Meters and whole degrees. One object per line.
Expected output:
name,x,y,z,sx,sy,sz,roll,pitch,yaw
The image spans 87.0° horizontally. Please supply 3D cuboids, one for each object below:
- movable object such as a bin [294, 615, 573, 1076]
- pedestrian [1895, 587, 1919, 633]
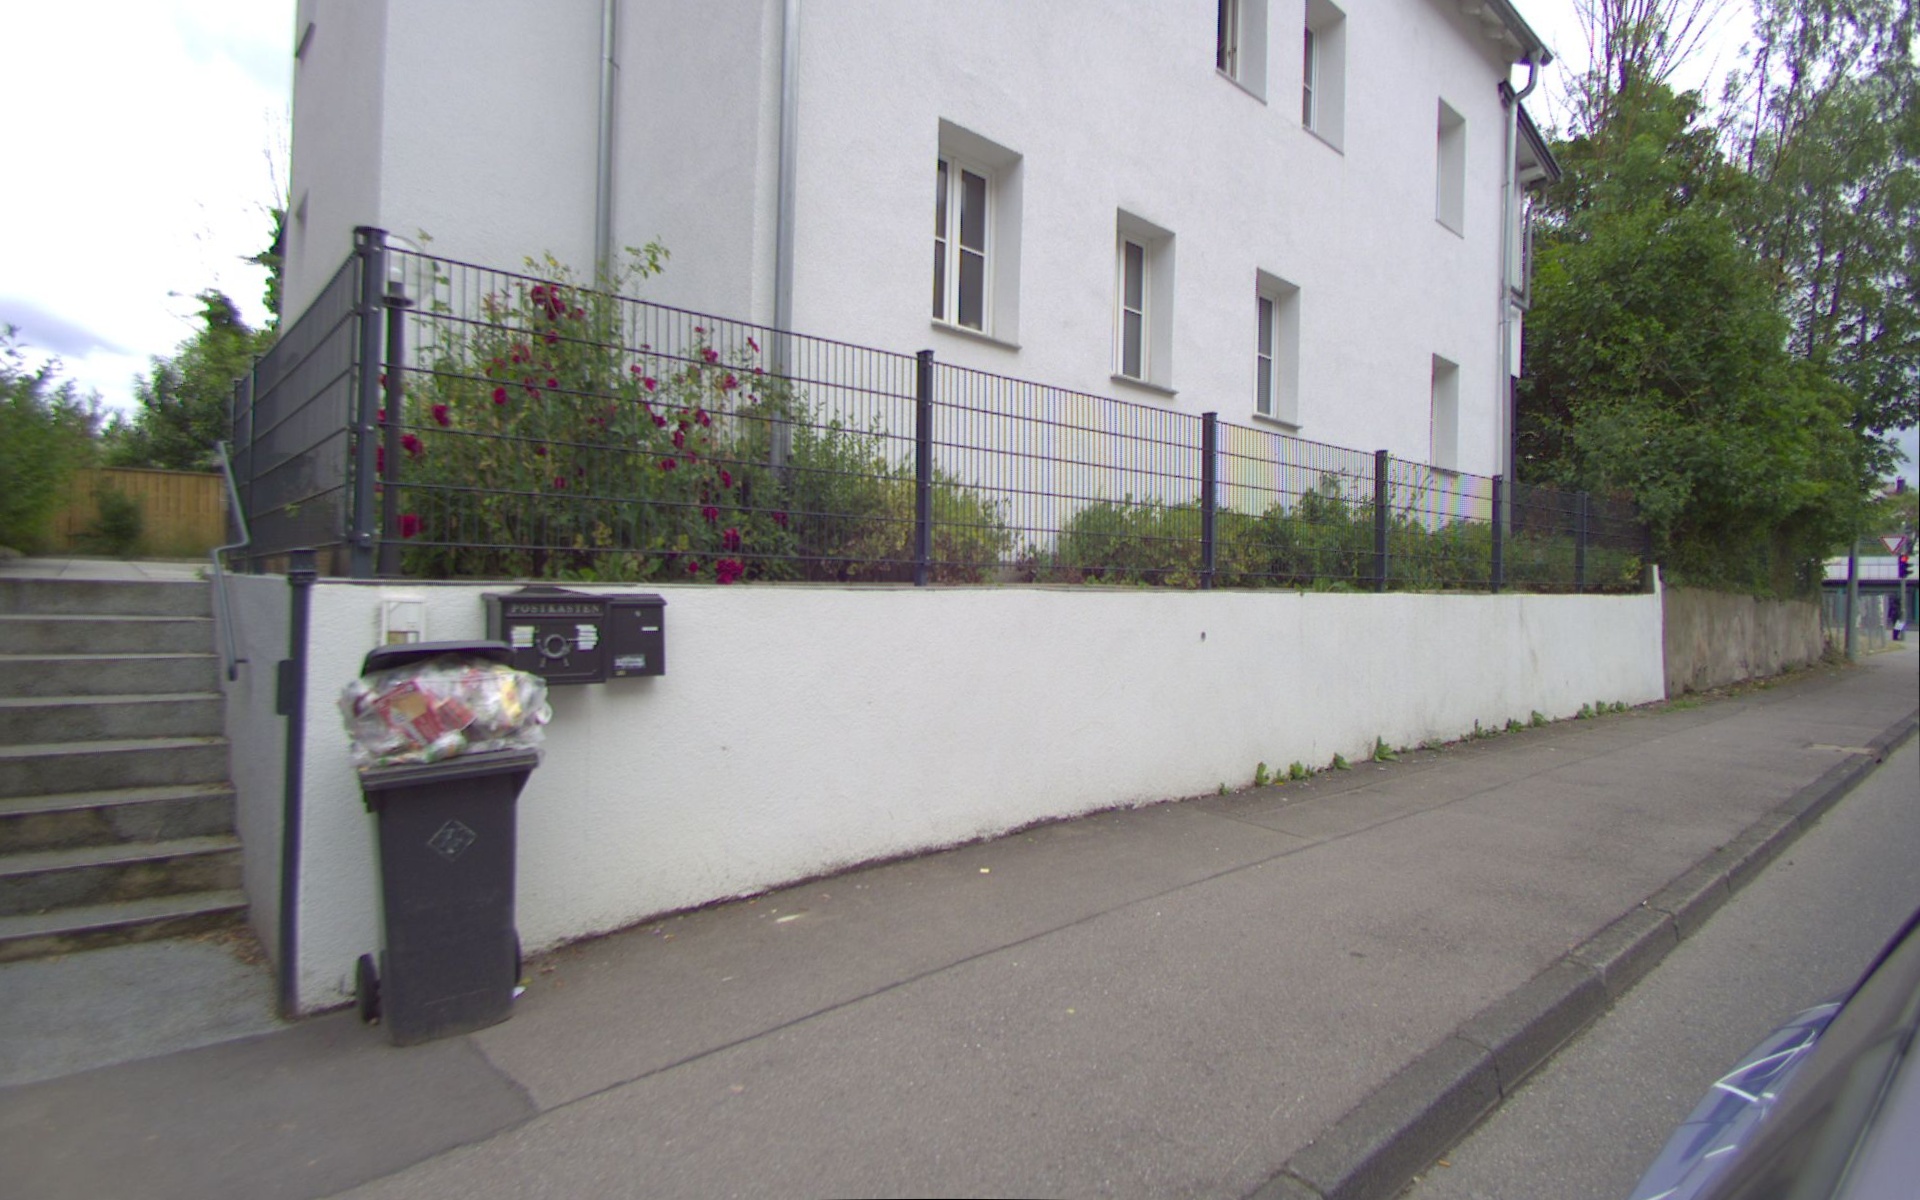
movable object such as a bin,-1.620,0.668,3.112,0.624,1.192,0.529,0,4,-43
pedestrian,34.530,0.355,36.854,0.661,1.610,0.552,0,4,-44
